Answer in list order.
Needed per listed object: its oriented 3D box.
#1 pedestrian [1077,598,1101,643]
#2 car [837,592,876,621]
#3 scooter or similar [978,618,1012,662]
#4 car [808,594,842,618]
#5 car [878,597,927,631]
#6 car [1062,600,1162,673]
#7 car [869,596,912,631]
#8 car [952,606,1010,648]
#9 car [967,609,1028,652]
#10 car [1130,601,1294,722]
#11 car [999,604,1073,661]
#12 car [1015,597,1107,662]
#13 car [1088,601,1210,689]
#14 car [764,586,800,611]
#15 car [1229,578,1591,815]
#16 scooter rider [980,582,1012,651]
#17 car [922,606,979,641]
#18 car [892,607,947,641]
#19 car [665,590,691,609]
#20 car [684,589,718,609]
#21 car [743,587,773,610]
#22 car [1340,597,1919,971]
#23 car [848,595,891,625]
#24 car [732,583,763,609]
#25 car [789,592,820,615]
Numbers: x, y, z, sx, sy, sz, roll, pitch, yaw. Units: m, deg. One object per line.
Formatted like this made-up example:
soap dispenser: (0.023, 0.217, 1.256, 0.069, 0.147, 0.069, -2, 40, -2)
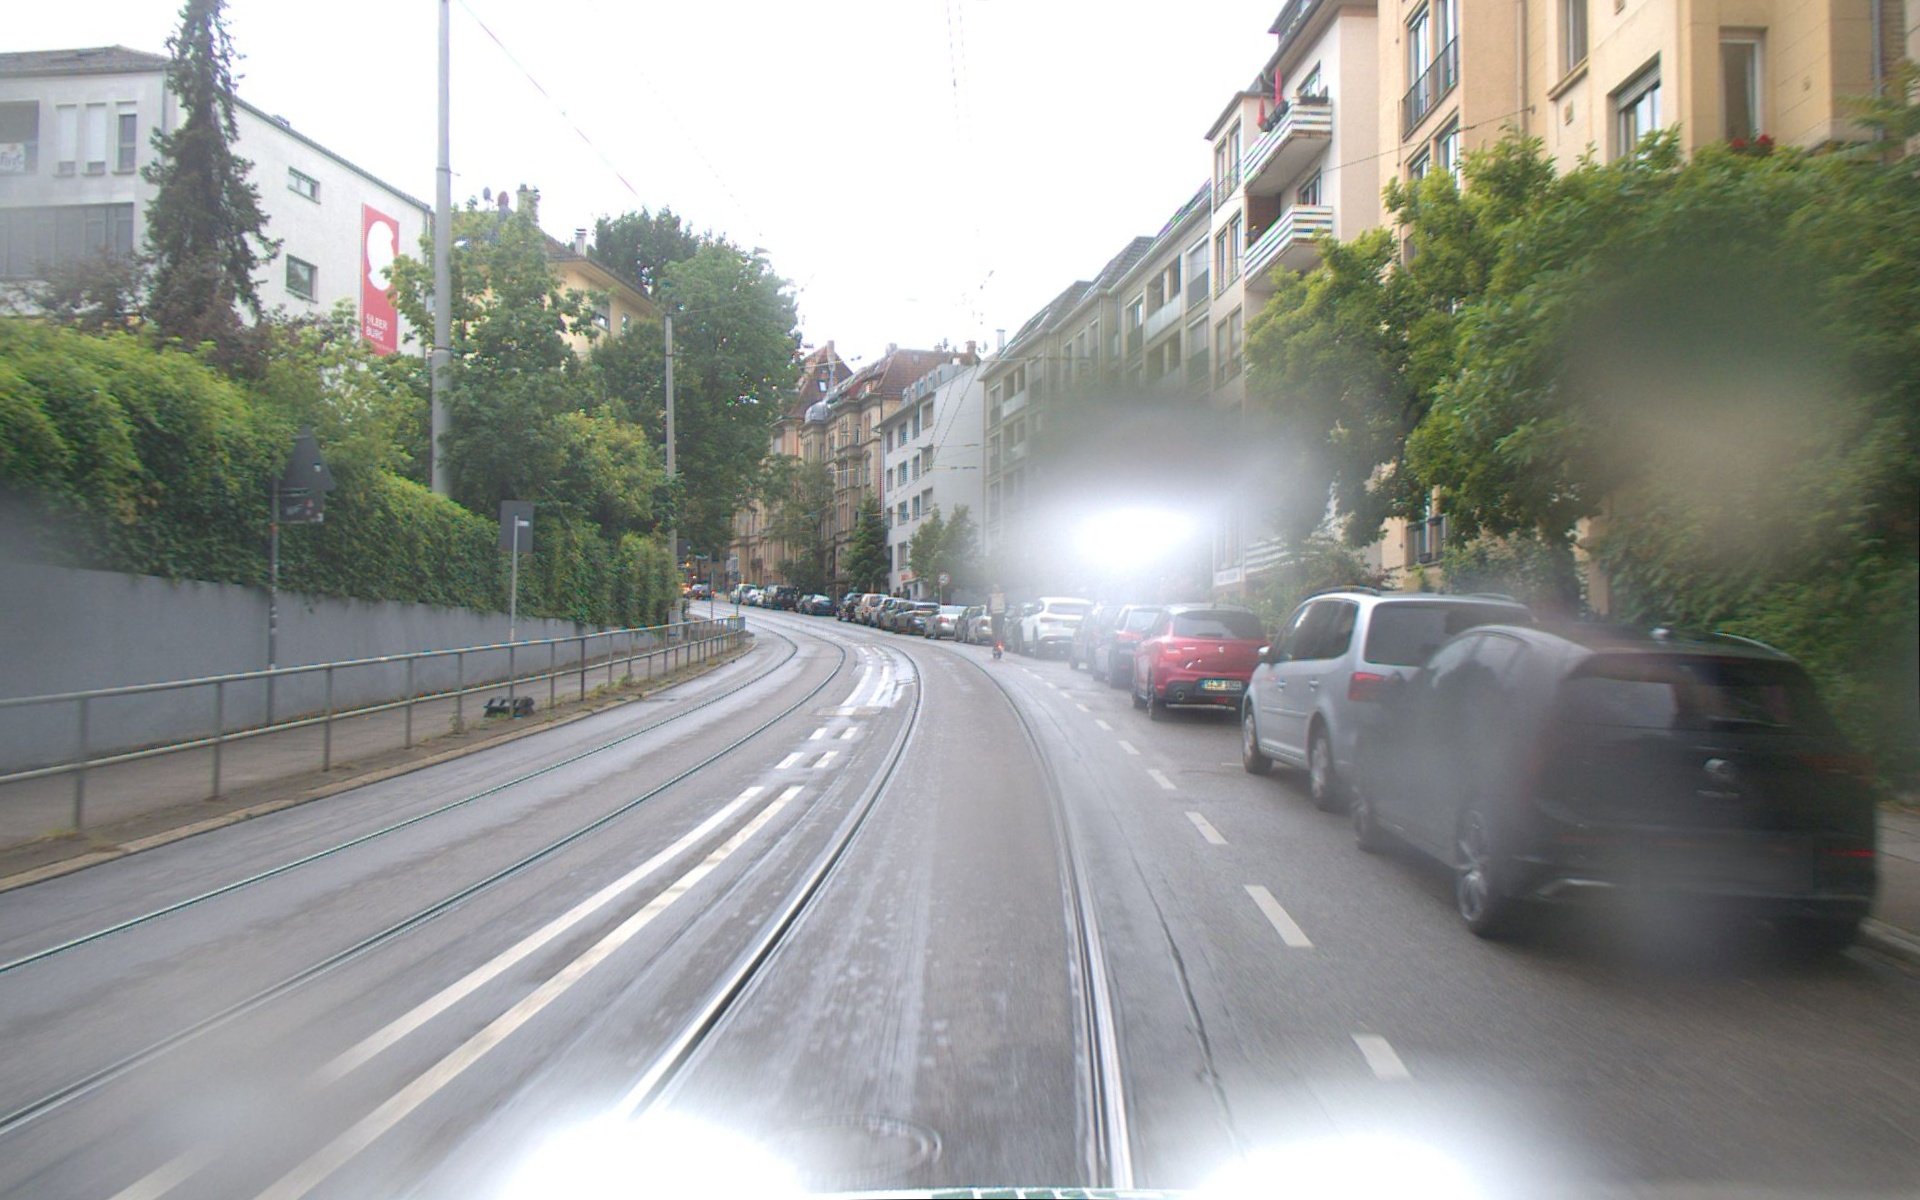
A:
pedestrian: (4.576, 0.710, 58.587, 0.559, 1.569, 0.927, -2, 0, -12)
car: (-6.532, 0.408, 104.269, 1.736, 1.713, 4.233, 2, 0, -14)
scooter or similar: (0.888, 1.019, 42.724, 0.504, 1.068, 2.005, 3, 0, -9)
car: (-9.638, 0.414, 117.852, 1.736, 1.544, 4.125, 2, 0, -14)
car: (-3.077, 0.726, 88.402, 1.737, 1.643, 4.232, 2, 0, -14)
car: (3.271, 0.765, 36.307, 1.525, 1.462, 4.300, 1, 0, -4)
car: (-3.959, 0.751, 93.894, 1.735, 1.818, 4.235, 2, 0, -12)
car: (0.804, 1.037, 65.456, 1.670, 1.538, 3.707, 2, 0, -8)
car: (1.346, 1.109, 60.930, 1.629, 1.497, 4.501, 2, -1, -7)
car: (3.334, 0.772, 22.497, 1.686, 1.462, 3.841, 1, 0, 1)
car: (2.277, 0.947, 50.407, 1.668, 1.538, 4.567, 3, 0, -4)
car: (2.684, 0.758, 44.789, 1.802, 1.600, 4.243, 2, 0, -6)
car: (3.407, 0.774, 30.436, 1.649, 1.462, 4.063, 1, 0, -2)
car: (-14.134, -0.133, 131.479, 1.996, 1.856, 4.346, 2, 0, -18)
car: (3.507, 0.681, 13.733, 1.730, 1.631, 4.287, -1, 0, -1)
scooter rider: (0.919, 0.419, 42.773, 0.611, 1.735, 0.842, 3, 0, -9)
car: (-0.469, 1.014, 72.819, 1.730, 1.460, 4.627, 0, 0, -10)
car: (-2.059, 1.164, 82.416, 1.738, 1.643, 4.229, 0, 0, -16)
car: (-28.238, -0.092, 165.694, 1.829, 1.765, 4.115, 2, 0, -20)
car: (-25.160, -0.097, 160.440, 2.005, 1.765, 4.102, 2, 0, -28)
car: (-17.365, -0.131, 142.292, 1.994, 1.856, 4.123, 2, 0, -15)
car: (3.285, 0.758, 8.844, 1.729, 1.415, 4.002, 1, 1, 3)
car: (-5.475, 0.572, 99.580, 1.737, 1.713, 4.232, 2, 0, -15)
car: (-18.954, -0.389, 147.336, 1.996, 2.257, 4.120, 2, 0, -17)
car: (-11.557, 0.271, 122.769, 1.623, 1.563, 3.873, -2, 1, -15)
